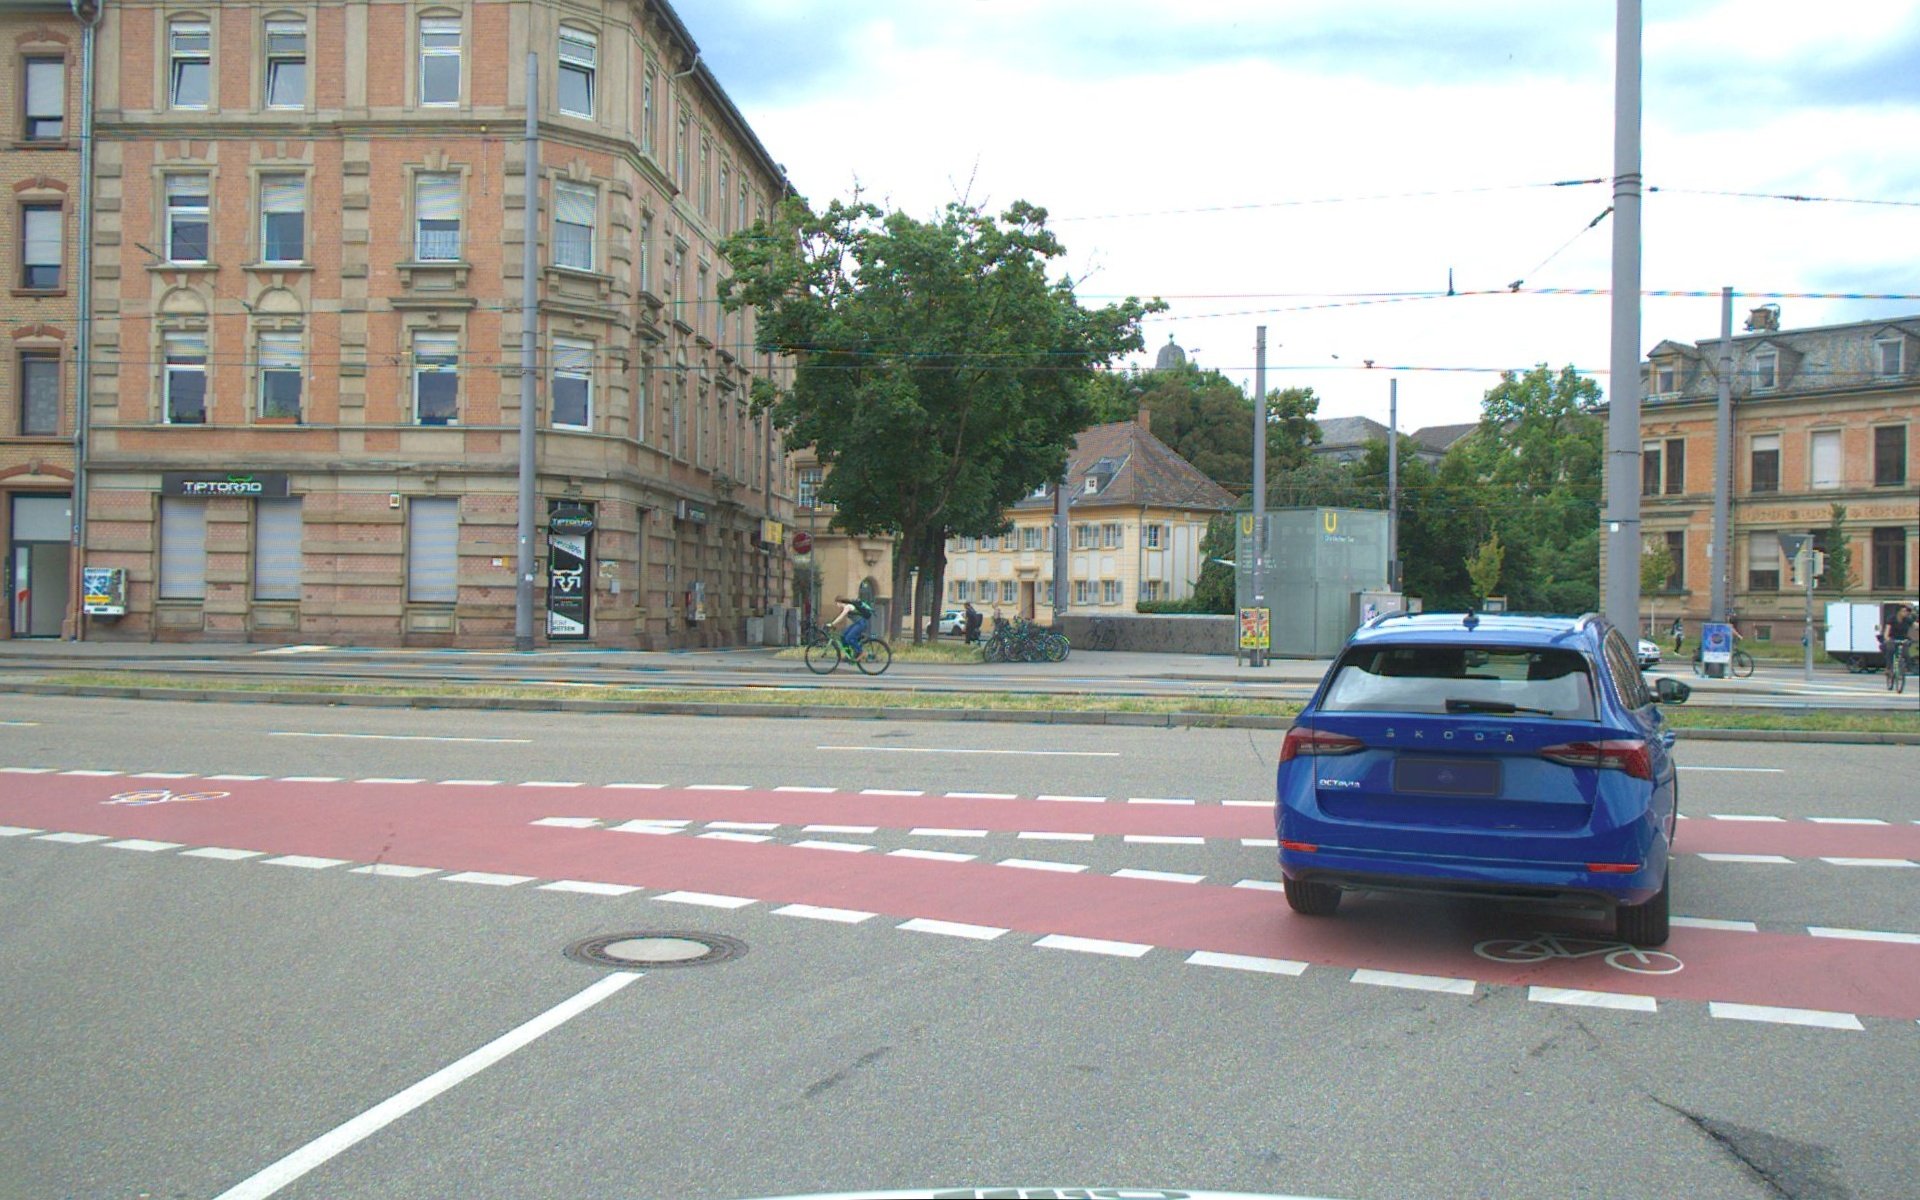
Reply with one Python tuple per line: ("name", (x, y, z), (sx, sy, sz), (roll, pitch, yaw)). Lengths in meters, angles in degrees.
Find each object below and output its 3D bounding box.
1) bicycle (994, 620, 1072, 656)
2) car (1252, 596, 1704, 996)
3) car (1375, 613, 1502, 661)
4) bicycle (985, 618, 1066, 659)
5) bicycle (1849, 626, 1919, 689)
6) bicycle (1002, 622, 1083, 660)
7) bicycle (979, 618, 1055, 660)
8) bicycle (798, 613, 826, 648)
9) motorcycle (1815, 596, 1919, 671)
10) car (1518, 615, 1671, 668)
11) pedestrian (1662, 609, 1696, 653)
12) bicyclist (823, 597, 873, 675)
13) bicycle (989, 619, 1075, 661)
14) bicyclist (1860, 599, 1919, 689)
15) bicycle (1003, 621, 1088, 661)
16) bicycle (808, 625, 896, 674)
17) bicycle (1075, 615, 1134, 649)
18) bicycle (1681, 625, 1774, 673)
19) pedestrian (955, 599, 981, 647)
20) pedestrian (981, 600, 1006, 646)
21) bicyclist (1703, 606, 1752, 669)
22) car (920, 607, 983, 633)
("bicycle", (2.092, 1.080, 47.334), (2.166, 1.004, 0.585), (1, 0, 15))
("car", (2.942, 0.780, 8.771), (1.744, 1.514, 4.463), (1, 0, 23))
("car", (15.967, 1.217, 55.366), (1.673, 1.474, 4.101), (1, 0, -30))
("bicycle", (1.669, 0.978, 41.954), (1.988, 1.004, 0.522), (1, 0, 15))
("bicycle", (19.264, 1.189, 34.286), (0.796, 1.264, 2.001), (-1, -2, 7))
("bicycle", (2.310, 1.129, 46.122), (2.166, 1.004, 0.585), (1, 0, 15))
("bicycle", (1.417, 0.960, 41.235), (1.823, 1.004, 0.500), (1, 0, 13))
("bicycle", (-4.154, 0.847, 46.615), (0.647, 0.930, 1.989), (1, 0, -2))
("motorcycle", (26.357, 0.914, 46.668), (1.677, 2.049, 3.640), (1, 0, -36))
("car", (19.188, 1.223, 50.168), (1.740, 1.479, 4.111), (1, 0, -34))
("pedestrian", (29.932, 1.285, 68.886), (1.108, 1.794, 0.753), (0, -1, 43))
("bicyclist", (-2.204, 0.698, 32.649), (0.920, 1.520, 0.663), (1, 0, 1))
("bicycle", (1.847, 1.021, 42.492), (2.166, 1.024, 0.480), (1, 0, 15))
("bicyclist", (19.252, 0.905, 34.177), (0.796, 1.830, 1.030), (-1, -1, 7))
("bicycle", (2.234, 1.060, 43.196), (2.166, 1.004, 0.500), (1, 0, 15))
("bicycle", (-2.121, 0.976, 32.637), (1.678, 0.931, 0.608), (1, 0, 0))
("bicycle", (4.941, 1.083, 56.722), (0.731, 1.134, 2.337), (1, 0, -32))
("bicycle", (20.681, 1.311, 44.592), (0.847, 1.229, 2.171), (2, -1, -34))
("pedestrian", (0.297, 0.838, 61.645), (0.826, 1.753, 0.953), (1, 0, 8))
("pedestrian", (1.294, 0.884, 63.981), (0.826, 1.753, 0.953), (1, 0, 8))
("bicyclist", (20.693, 1.010, 44.595), (0.845, 1.651, 0.906), (2, -1, -35))
("car", (-0.547, 1.203, 100.307), (1.680, 1.474, 4.131), (1, 0, -38))
